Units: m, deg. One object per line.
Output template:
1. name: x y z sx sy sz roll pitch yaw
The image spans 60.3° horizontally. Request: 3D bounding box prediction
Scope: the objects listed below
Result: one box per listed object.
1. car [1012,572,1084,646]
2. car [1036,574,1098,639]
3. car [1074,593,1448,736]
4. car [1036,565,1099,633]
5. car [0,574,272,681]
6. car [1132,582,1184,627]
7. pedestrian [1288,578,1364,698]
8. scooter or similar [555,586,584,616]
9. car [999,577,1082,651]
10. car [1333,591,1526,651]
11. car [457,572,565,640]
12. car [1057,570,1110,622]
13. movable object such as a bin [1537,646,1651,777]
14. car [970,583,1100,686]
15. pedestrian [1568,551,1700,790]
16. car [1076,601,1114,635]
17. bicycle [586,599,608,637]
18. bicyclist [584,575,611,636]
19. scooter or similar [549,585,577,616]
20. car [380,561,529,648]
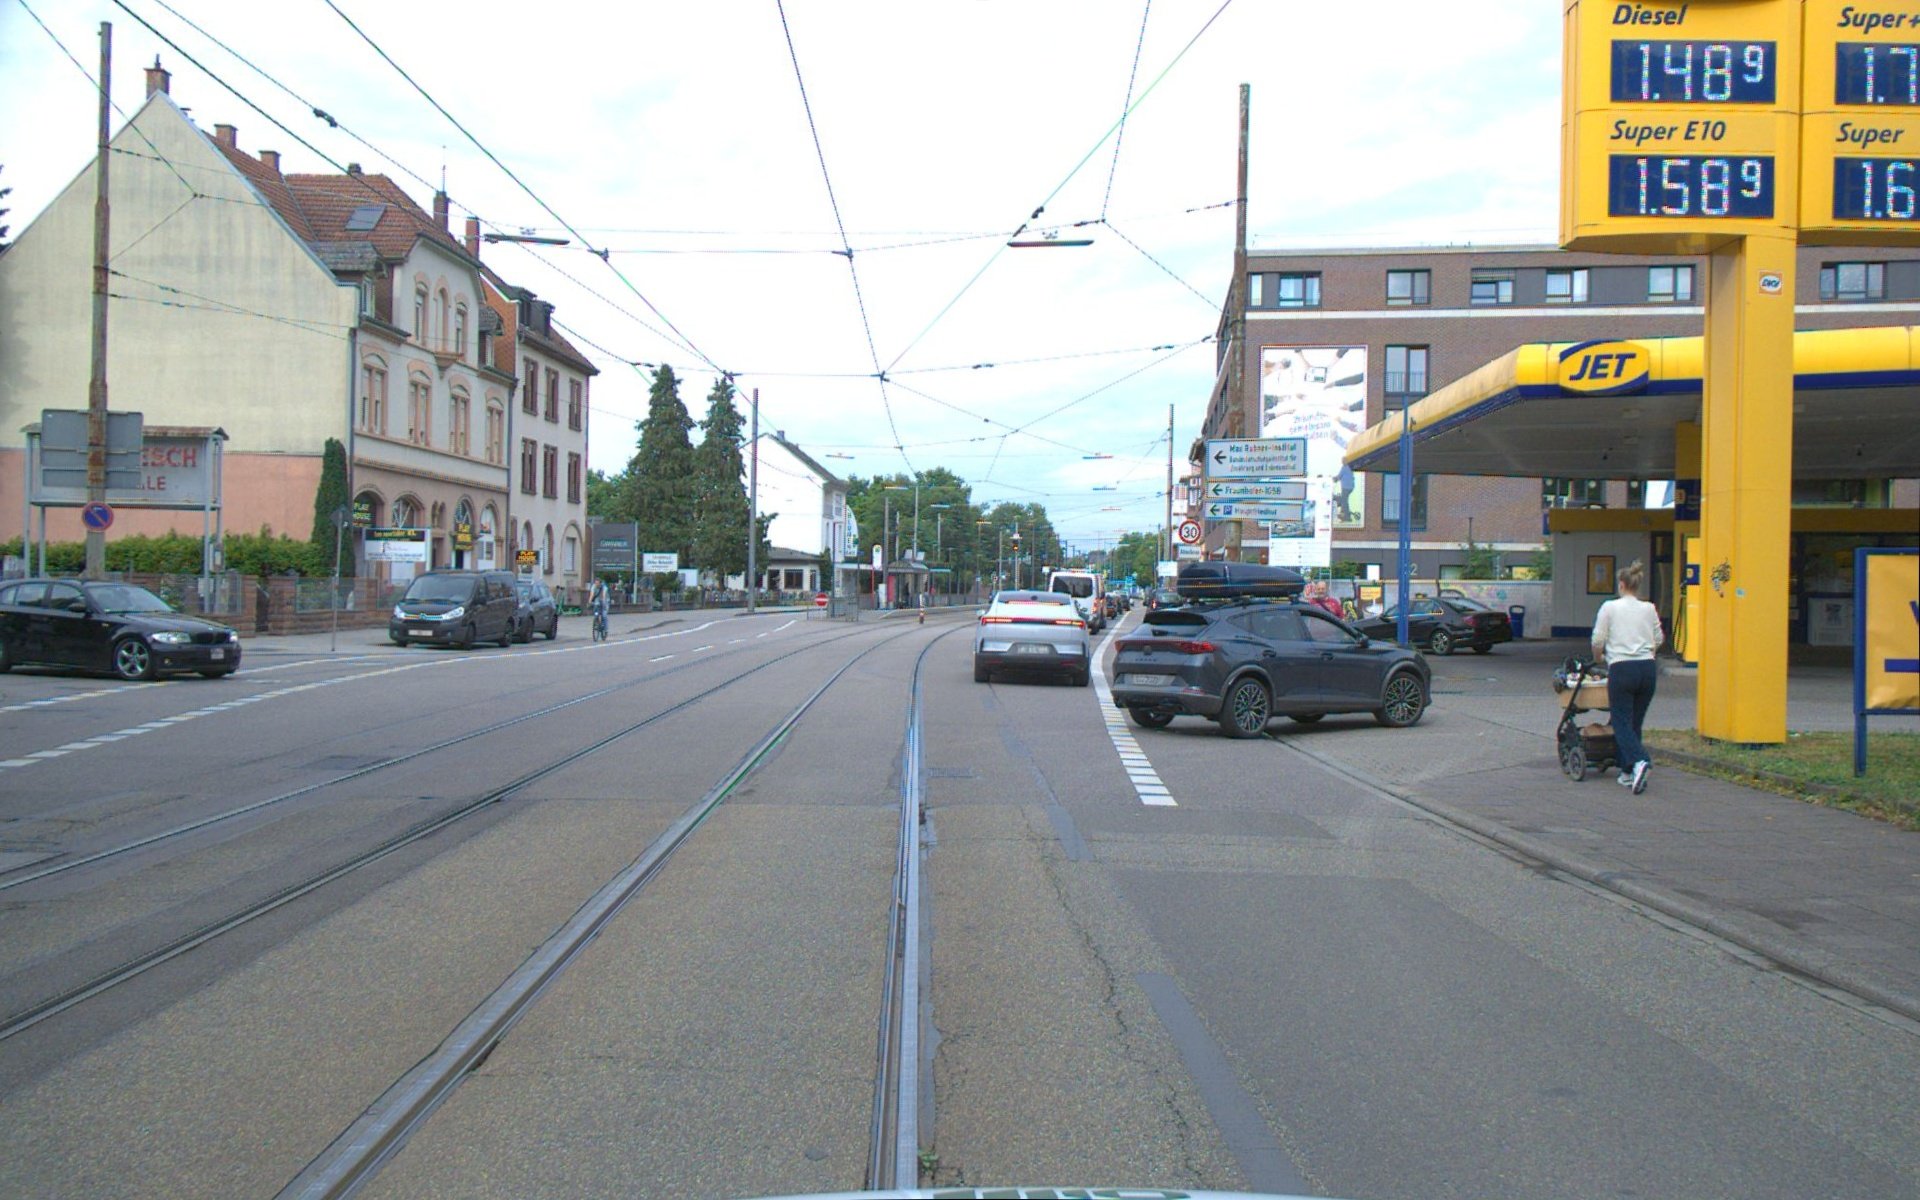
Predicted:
1. car: 2.591 0.281 49.549 1.952 2.049 4.000 2 0 1
2. car: 3.622 0.235 56.521 1.952 2.049 4.001 2 0 2
3. car: 3.645 0.720 19.761 4.275 1.523 1.973 1 0 -35
4. car: 4.162 -0.036 64.782 2.171 2.465 4.952 2 0 1
5. car: -12.272 0.357 24.198 3.838 1.412 1.802 1 0 20
6. car: 8.671 0.220 72.777 1.836 1.855 4.097 2 0 2
7. pedestrian: 5.541 0.575 25.084 0.951 1.769 0.861 -1 -1 2
8. scooter or similar: -15.843 0.042 67.068 1.039 1.209 0.315 3 -1 -34
9. car: 2.056 0.359 43.298 1.928 1.787 3.838 2 0 0
10. car: 12.260 0.518 43.464 1.929 1.452 4.830 1 0 -33
11. car: -12.661 0.173 46.879 1.807 1.748 4.193 2 0 1
12. car: 5.483 -0.166 73.931 2.095 2.183 4.744 2 0 2
13. movable object such as a bin: 5.473 0.949 14.339 0.751 1.057 1.025 -2 0 13
14. car: 1.228 0.547 28.877 1.941 1.577 4.182 2 0 -1
15. pedestrian: 5.389 0.546 13.293 0.751 1.828 1.163 -2 -1 13
16. car: 8.605 1.150 105.974 1.953 2.049 3.999 2 0 -1
17. bicycle: -10.585 0.509 48.294 0.576 1.092 1.951 0 0 -11
18. bicyclist: -10.609 0.151 48.412 0.722 1.780 0.976 0 0 -11
19. scooter or similar: -16.213 0.031 67.532 1.039 1.209 0.315 3 -1 -34
20. car: -12.402 0.120 40.951 1.951 1.920 4.999 2 0 2
